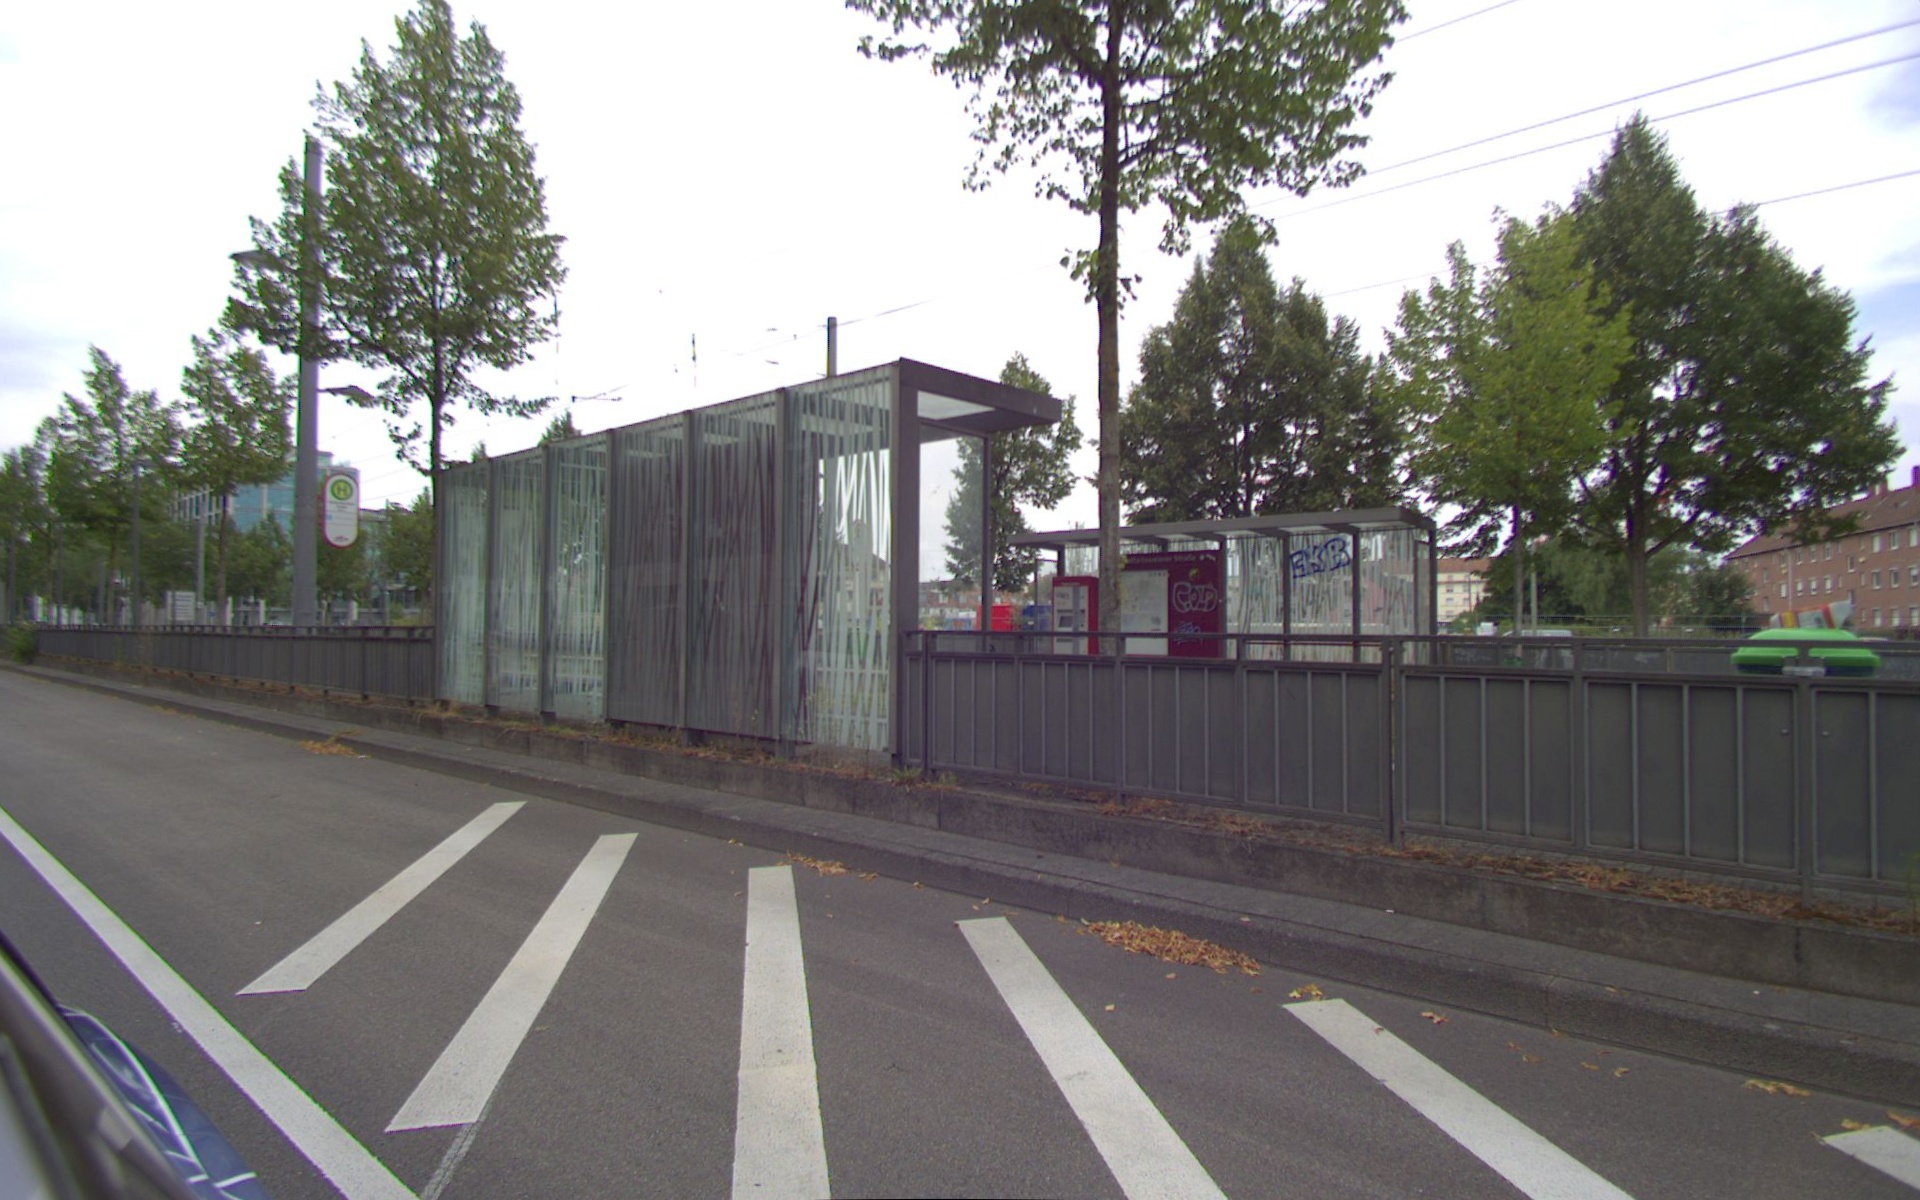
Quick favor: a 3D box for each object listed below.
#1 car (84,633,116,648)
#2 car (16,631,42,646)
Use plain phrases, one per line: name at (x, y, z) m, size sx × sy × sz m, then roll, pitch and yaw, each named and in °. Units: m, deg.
car at (-96.515, 4.524, 113.580) m, size 4.686 × 1.669 × 1.809 m, roll -2°, pitch -3°, yaw 39°
car at (-126.426, 5.196, 137.464) m, size 5.092 × 1.959 × 1.973 m, roll -2°, pitch -3°, yaw 40°
